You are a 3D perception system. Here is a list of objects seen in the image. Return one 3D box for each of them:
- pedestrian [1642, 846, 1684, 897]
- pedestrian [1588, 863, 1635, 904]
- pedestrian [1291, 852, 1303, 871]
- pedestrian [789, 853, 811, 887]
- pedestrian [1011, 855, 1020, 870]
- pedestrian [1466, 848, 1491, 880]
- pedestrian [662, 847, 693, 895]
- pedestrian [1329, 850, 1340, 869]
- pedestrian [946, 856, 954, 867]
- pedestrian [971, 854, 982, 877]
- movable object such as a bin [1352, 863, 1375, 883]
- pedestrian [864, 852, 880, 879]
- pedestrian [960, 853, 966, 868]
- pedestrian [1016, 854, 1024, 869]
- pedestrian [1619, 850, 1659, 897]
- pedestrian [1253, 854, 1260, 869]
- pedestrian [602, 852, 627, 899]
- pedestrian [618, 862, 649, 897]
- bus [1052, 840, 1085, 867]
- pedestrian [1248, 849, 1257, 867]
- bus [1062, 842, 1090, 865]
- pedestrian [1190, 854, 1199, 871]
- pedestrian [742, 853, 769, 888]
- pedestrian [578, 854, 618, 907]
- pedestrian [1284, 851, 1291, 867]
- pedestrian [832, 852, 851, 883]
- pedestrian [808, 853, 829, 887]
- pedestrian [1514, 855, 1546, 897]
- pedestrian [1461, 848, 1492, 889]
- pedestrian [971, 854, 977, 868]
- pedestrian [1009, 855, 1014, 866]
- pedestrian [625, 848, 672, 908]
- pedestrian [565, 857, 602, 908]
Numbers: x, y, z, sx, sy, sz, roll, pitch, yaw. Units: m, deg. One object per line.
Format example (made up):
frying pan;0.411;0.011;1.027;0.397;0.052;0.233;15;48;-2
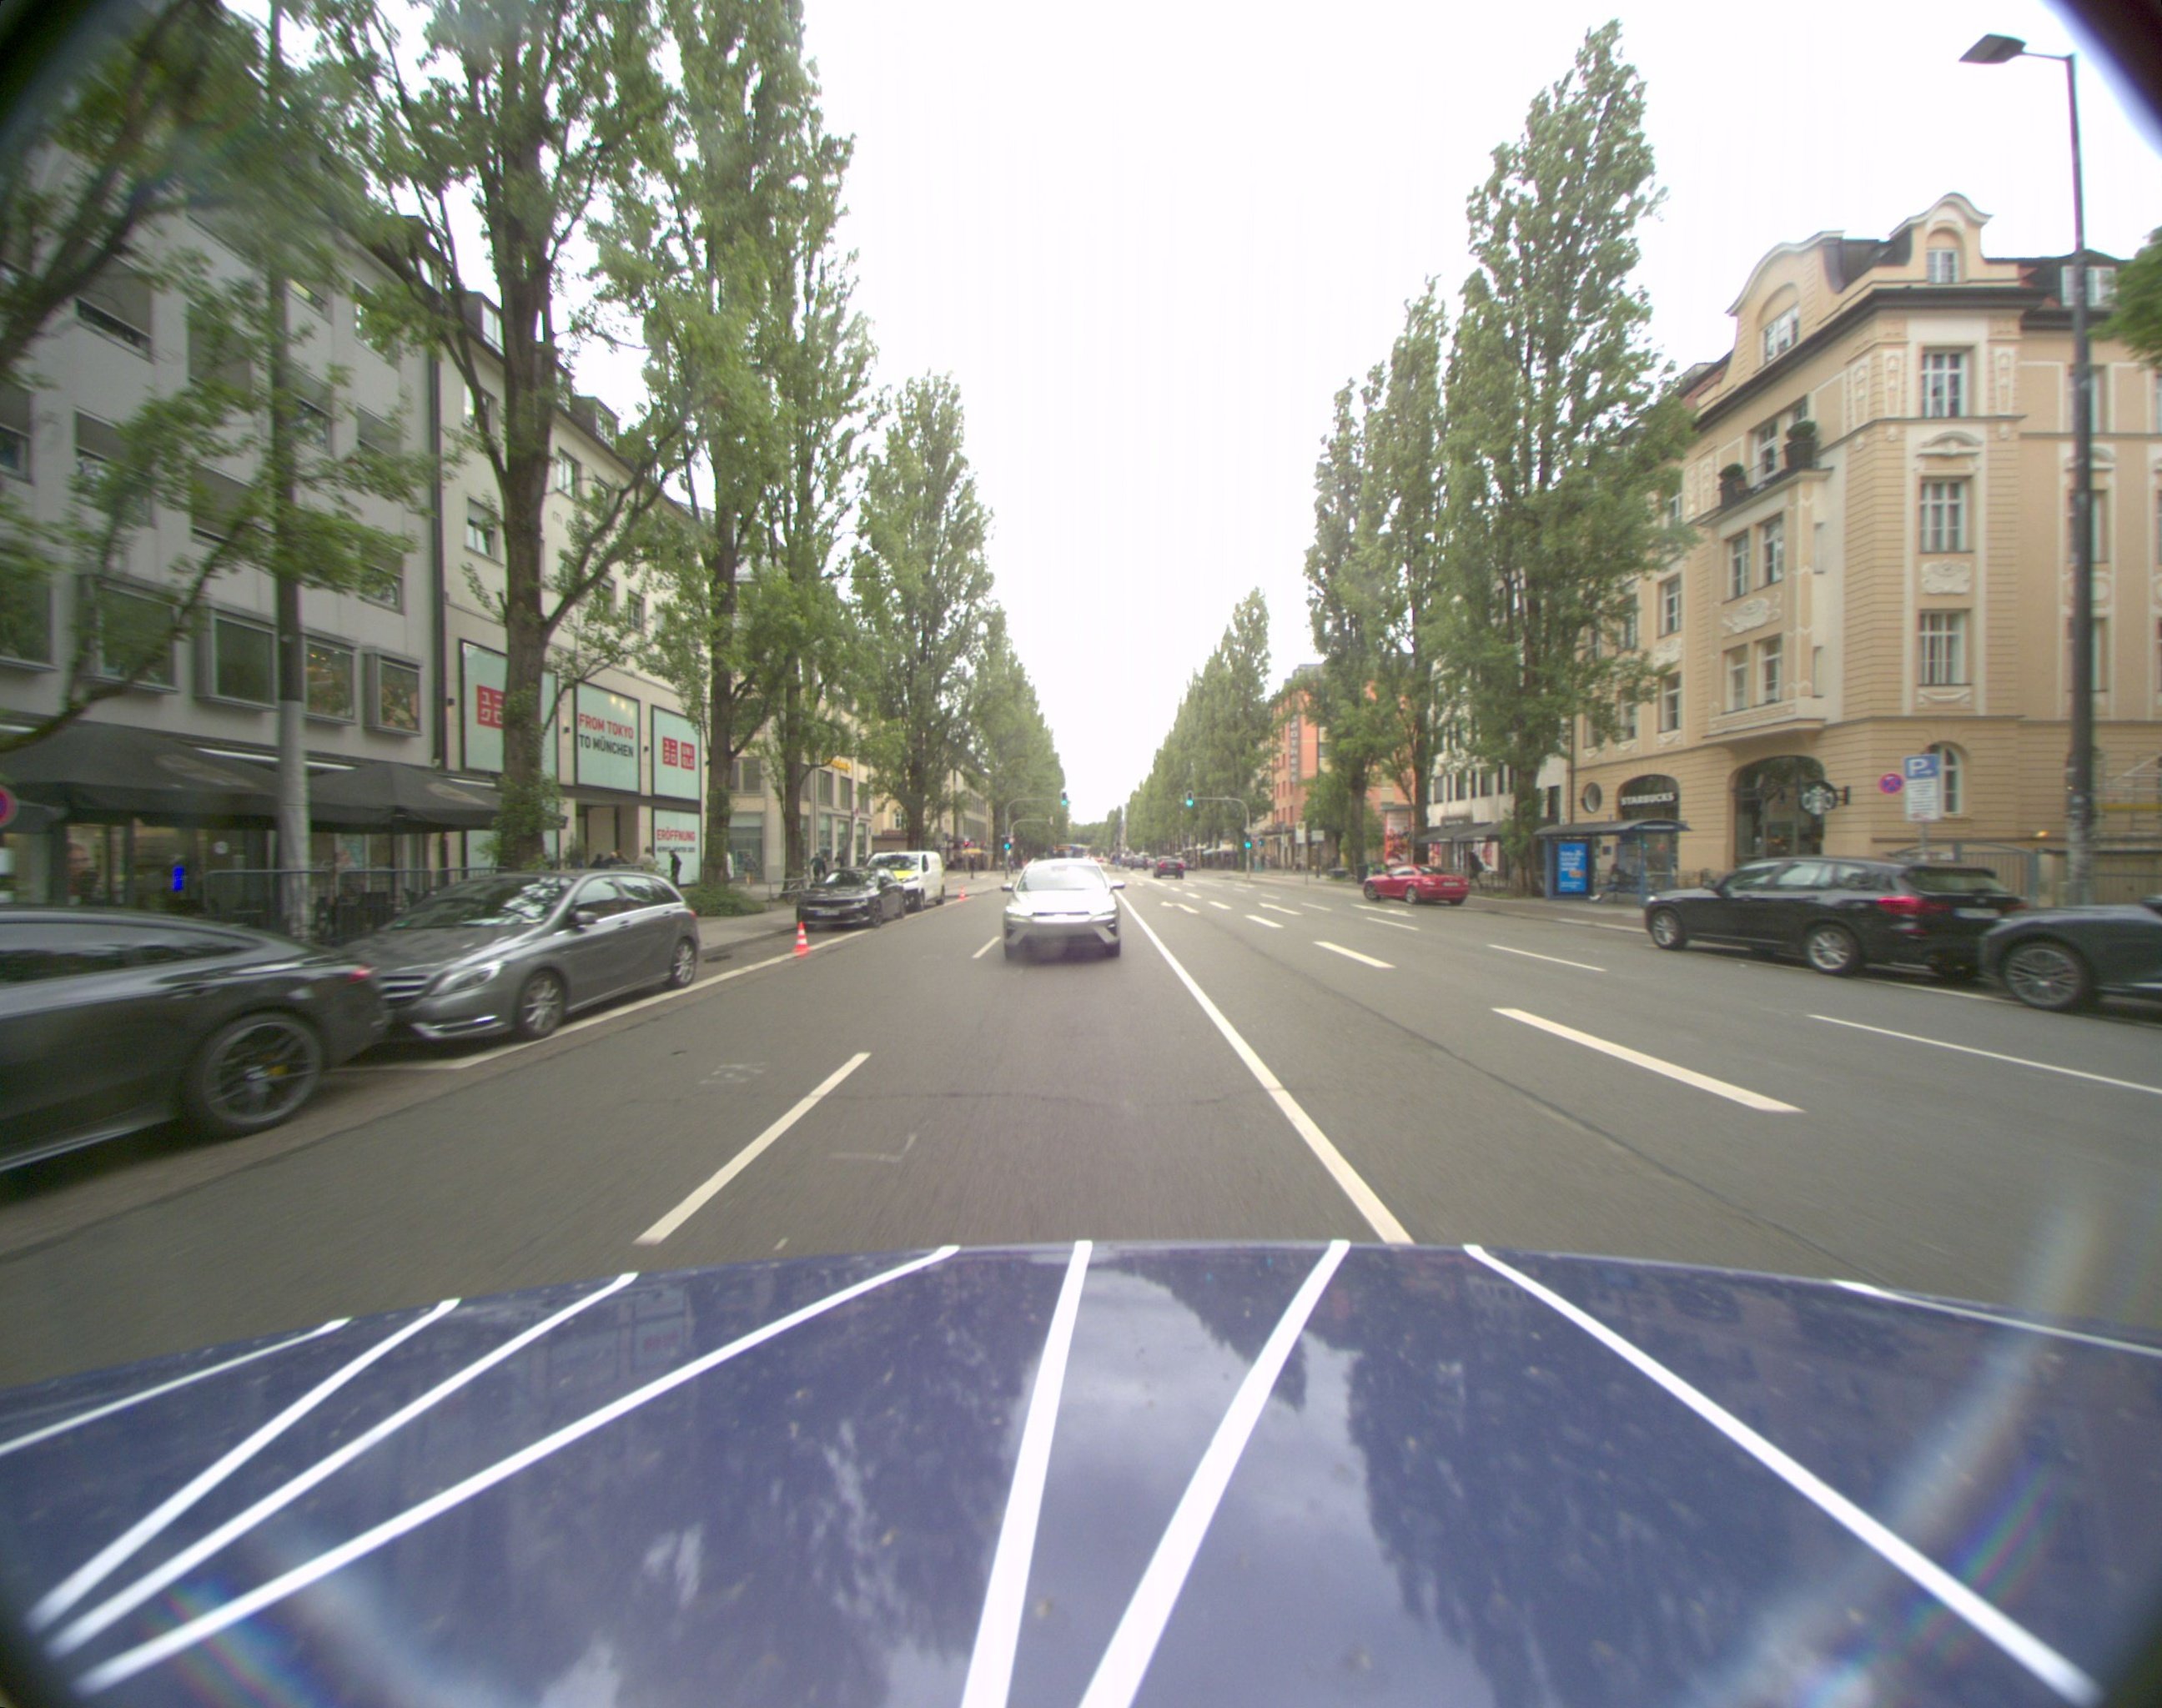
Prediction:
pedestrian;21.129;0.621;27.594;0.802;1.777;0.912;-2;0;1
pedestrian;16.937;0.942;24.273;0.963;1.249;0.757;-1;1;2
pedestrian;18.349;0.602;64.460;0.780;1.609;0.934;0;0;0
pedestrian;-14.119;0.804;38.199;0.752;1.667;0.963;0;1;2
pedestrian;-6.933;0.916;80.332;0.767;1.509;0.620;2;4;45
pedestrian;21.632;0.527;41.360;0.845;1.734;0.954;-2;1;2
pedestrian;-15.127;0.626;28.514;0.683;1.754;0.867;0;1;1
pedestrian;23.280;0.489;69.704;0.780;1.756;0.692;-1;1;1
pedestrian;-15.328;0.834;88.777;0.777;1.257;0.699;-1;1;1
pedestrian;-8.044;0.897;58.601;0.710;1.748;0.752;-1;1;2
movable object such as a bin;15.041;1.014;40.506;0.725;1.035;0.853;-2;1;-28
pedestrian;-13.807;0.744;50.154;0.820;1.807;0.890;0;1;-1
pedestrian;-13.618;0.773;87.555;0.541;1.664;0.537;0;1;8
pedestrian;-6.620;0.801;82.380;0.767;1.600;0.864;0;0;-3
pedestrian;20.300;0.692;27.656;0.734;1.672;0.977;-2;0;1
pedestrian;19.697;0.807;85.308;0.631;1.679;0.519;-2;1;2
pedestrian;-16.485;0.748;26.870;0.673;1.600;0.827;-1;1;-26
pedestrian;-16.726;0.946;28.405;0.671;1.227;0.684;-2;1;2
bus;-1.331;-0.034;88.970;2.805;2.886;12.861;0;0;3
pedestrian;17.231;0.429;76.342;0.726;1.761;0.778;0;1;2
bus;-0.510;-0.052;101.781;2.805;2.886;12.861;0;0;4
pedestrian;12.228;0.875;81.719;0.736;1.785;0.994;-1;1;19
pedestrian;-15.685;0.778;36.610;0.984;1.664;0.827;0;1;41
pedestrian;-15.091;0.823;23.736;0.671;1.600;0.771;-2;1;4
pedestrian;22.224;0.509;81.740;0.588;1.681;0.514;0;1;1
pedestrian;-14.221;0.805;45.104;0.820;1.807;0.890;0;1;-1
pedestrian;-14.063;0.846;40.762;0.752;1.748;0.859;0;2;2
pedestrian;19.036;0.931;32.258;0.908;1.734;0.820;-1;1;6
pedestrian;17.037;0.634;32.762;0.908;1.733;0.821;1;-1;6
pedestrian;-12.542;0.789;88.838;0.541;1.664;0.537;0;1;8
pedestrian;-11.556;1.021;126.032;0.658;1.840;0.906;0;1;3
pedestrian;-13.536;0.726;23.818;0.828;1.830;1.099;0;1;1
pedestrian;-15.944;0.910;24.354;0.671;1.600;0.684;0;1;8
